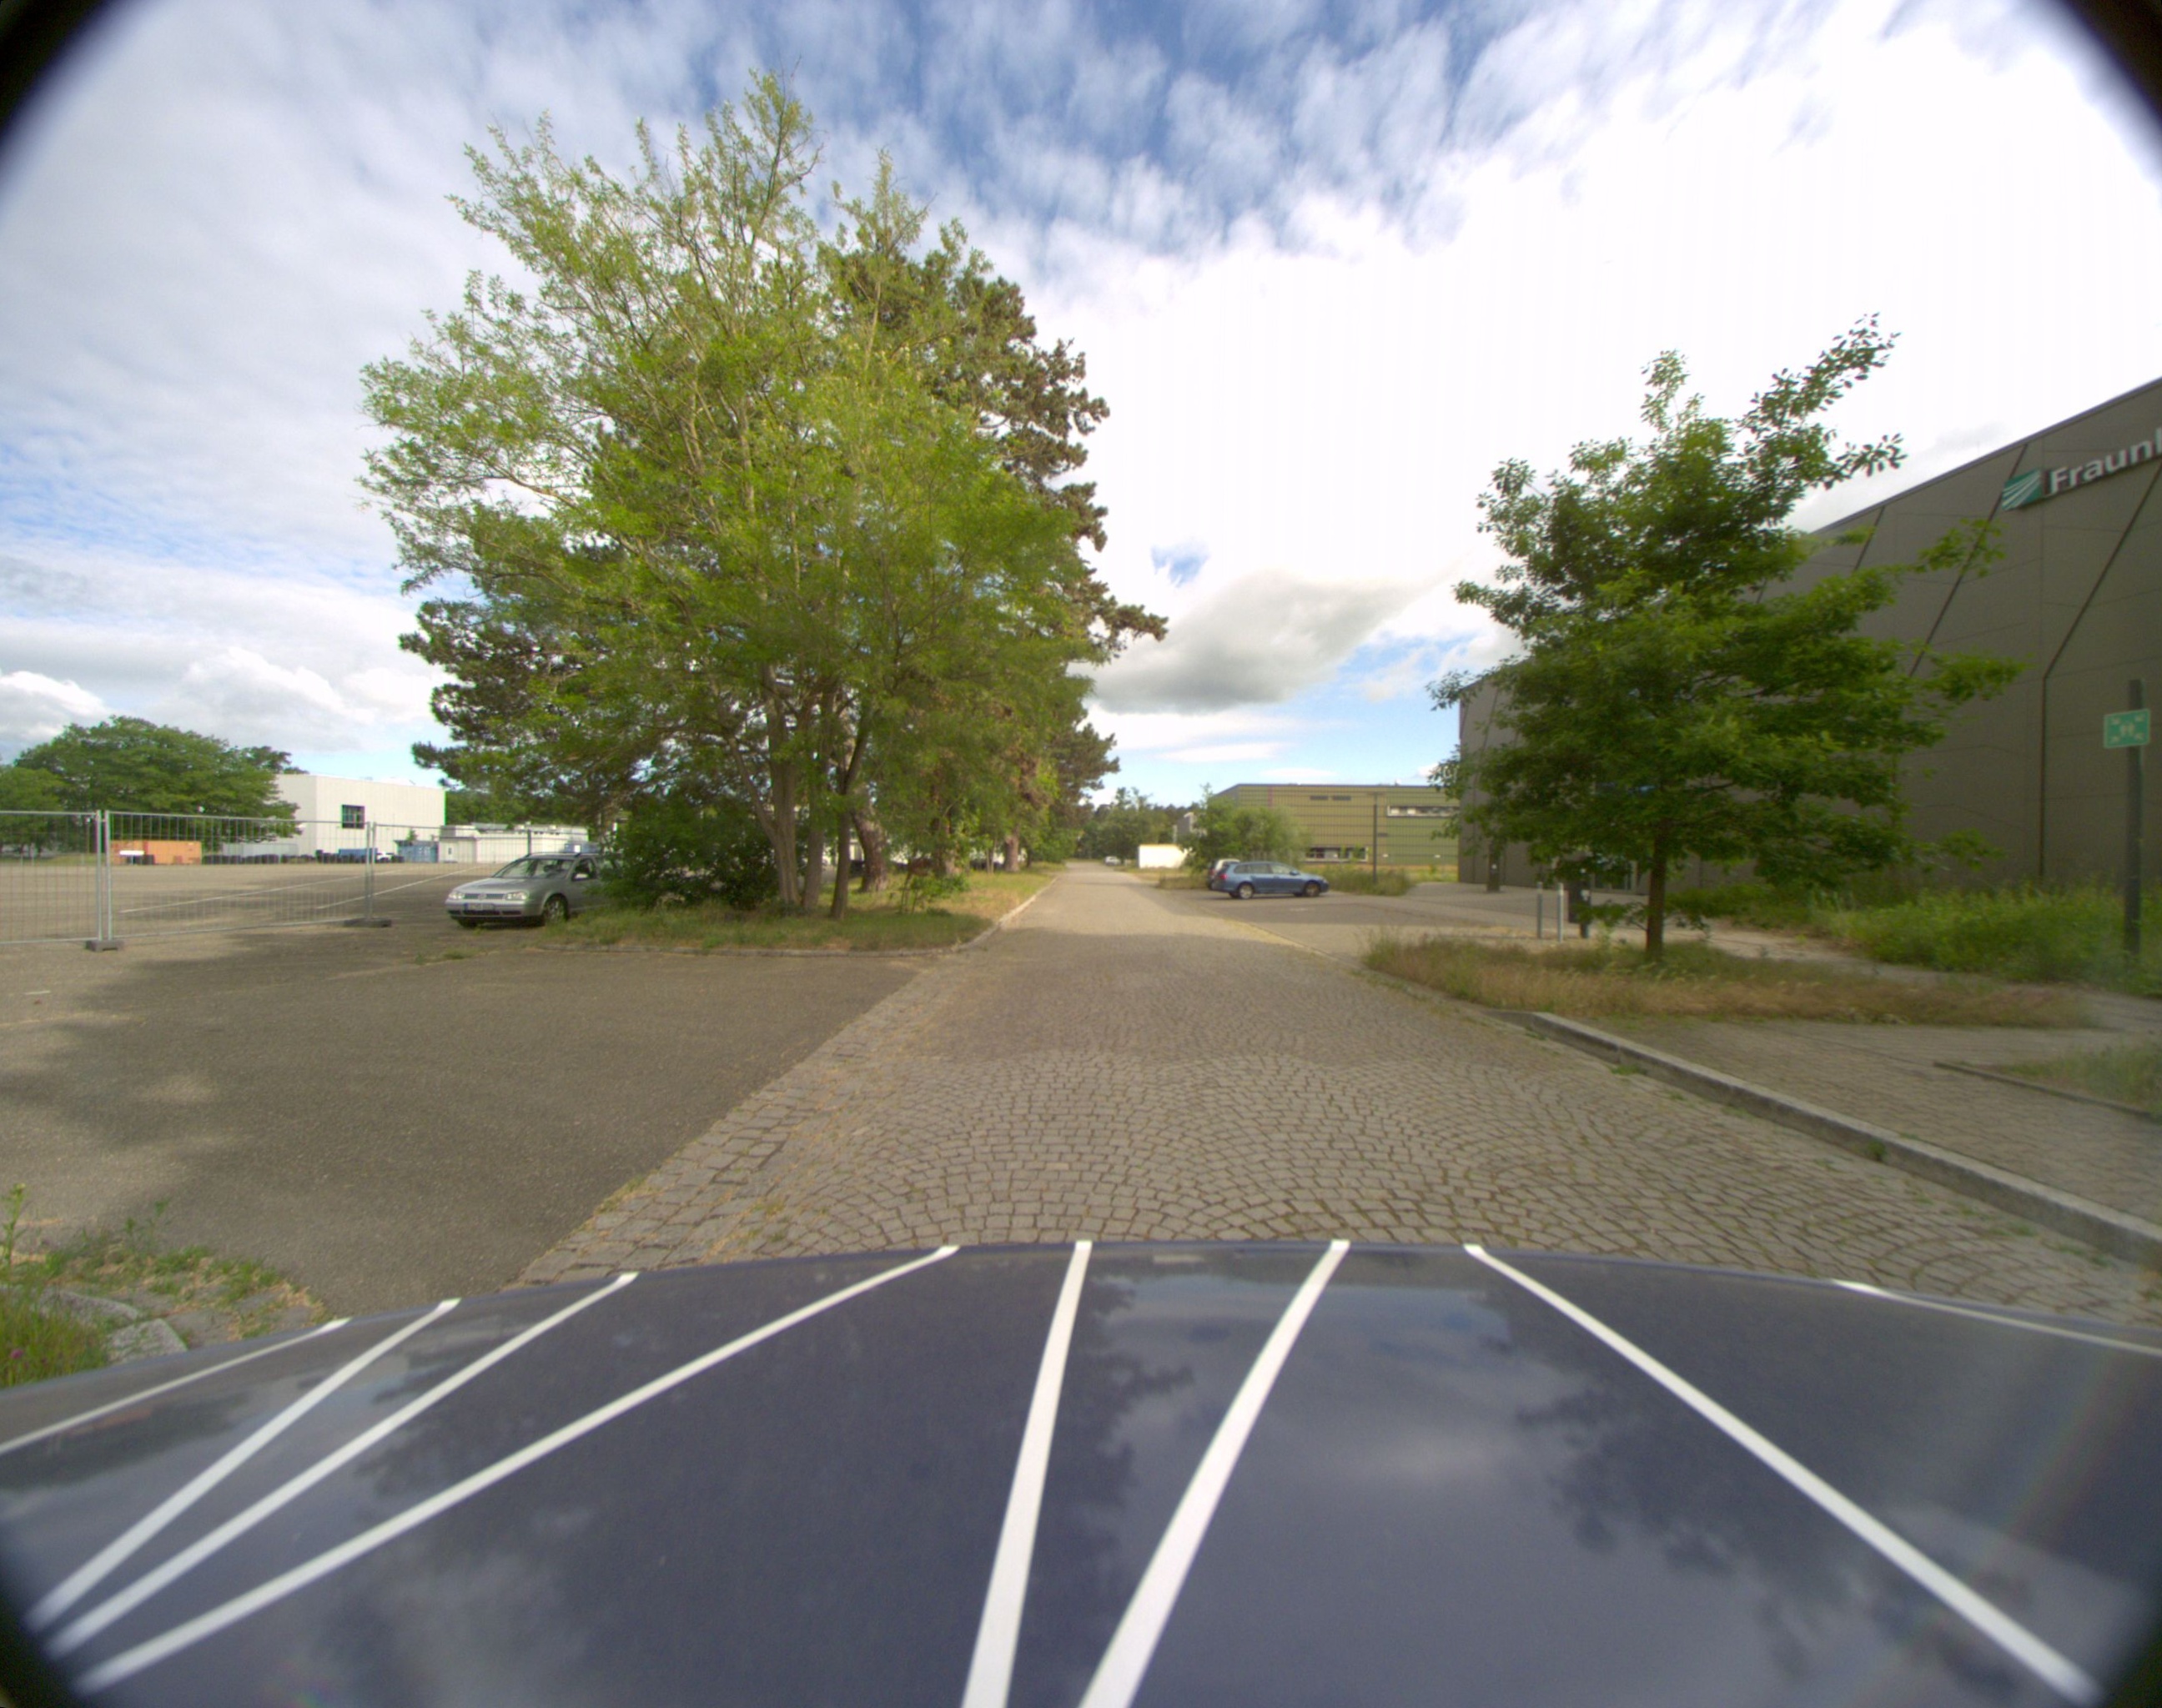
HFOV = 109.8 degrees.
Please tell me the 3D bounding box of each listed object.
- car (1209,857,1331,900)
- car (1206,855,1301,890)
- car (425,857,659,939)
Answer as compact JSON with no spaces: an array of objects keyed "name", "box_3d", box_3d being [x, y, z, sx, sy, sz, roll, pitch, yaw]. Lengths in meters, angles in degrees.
[{"name":"car","box_3d":[7.503,0.944,30.412,4.404,1.501,1.716,-2,1,-3]},{"name":"car","box_3d":[8.484,0.890,37.735,4.401,1.537,1.842,-2,0,7]},{"name":"car","box_3d":[-10.959,0.806,15.904,1.759,1.440,4.327,1,0,1]}]
